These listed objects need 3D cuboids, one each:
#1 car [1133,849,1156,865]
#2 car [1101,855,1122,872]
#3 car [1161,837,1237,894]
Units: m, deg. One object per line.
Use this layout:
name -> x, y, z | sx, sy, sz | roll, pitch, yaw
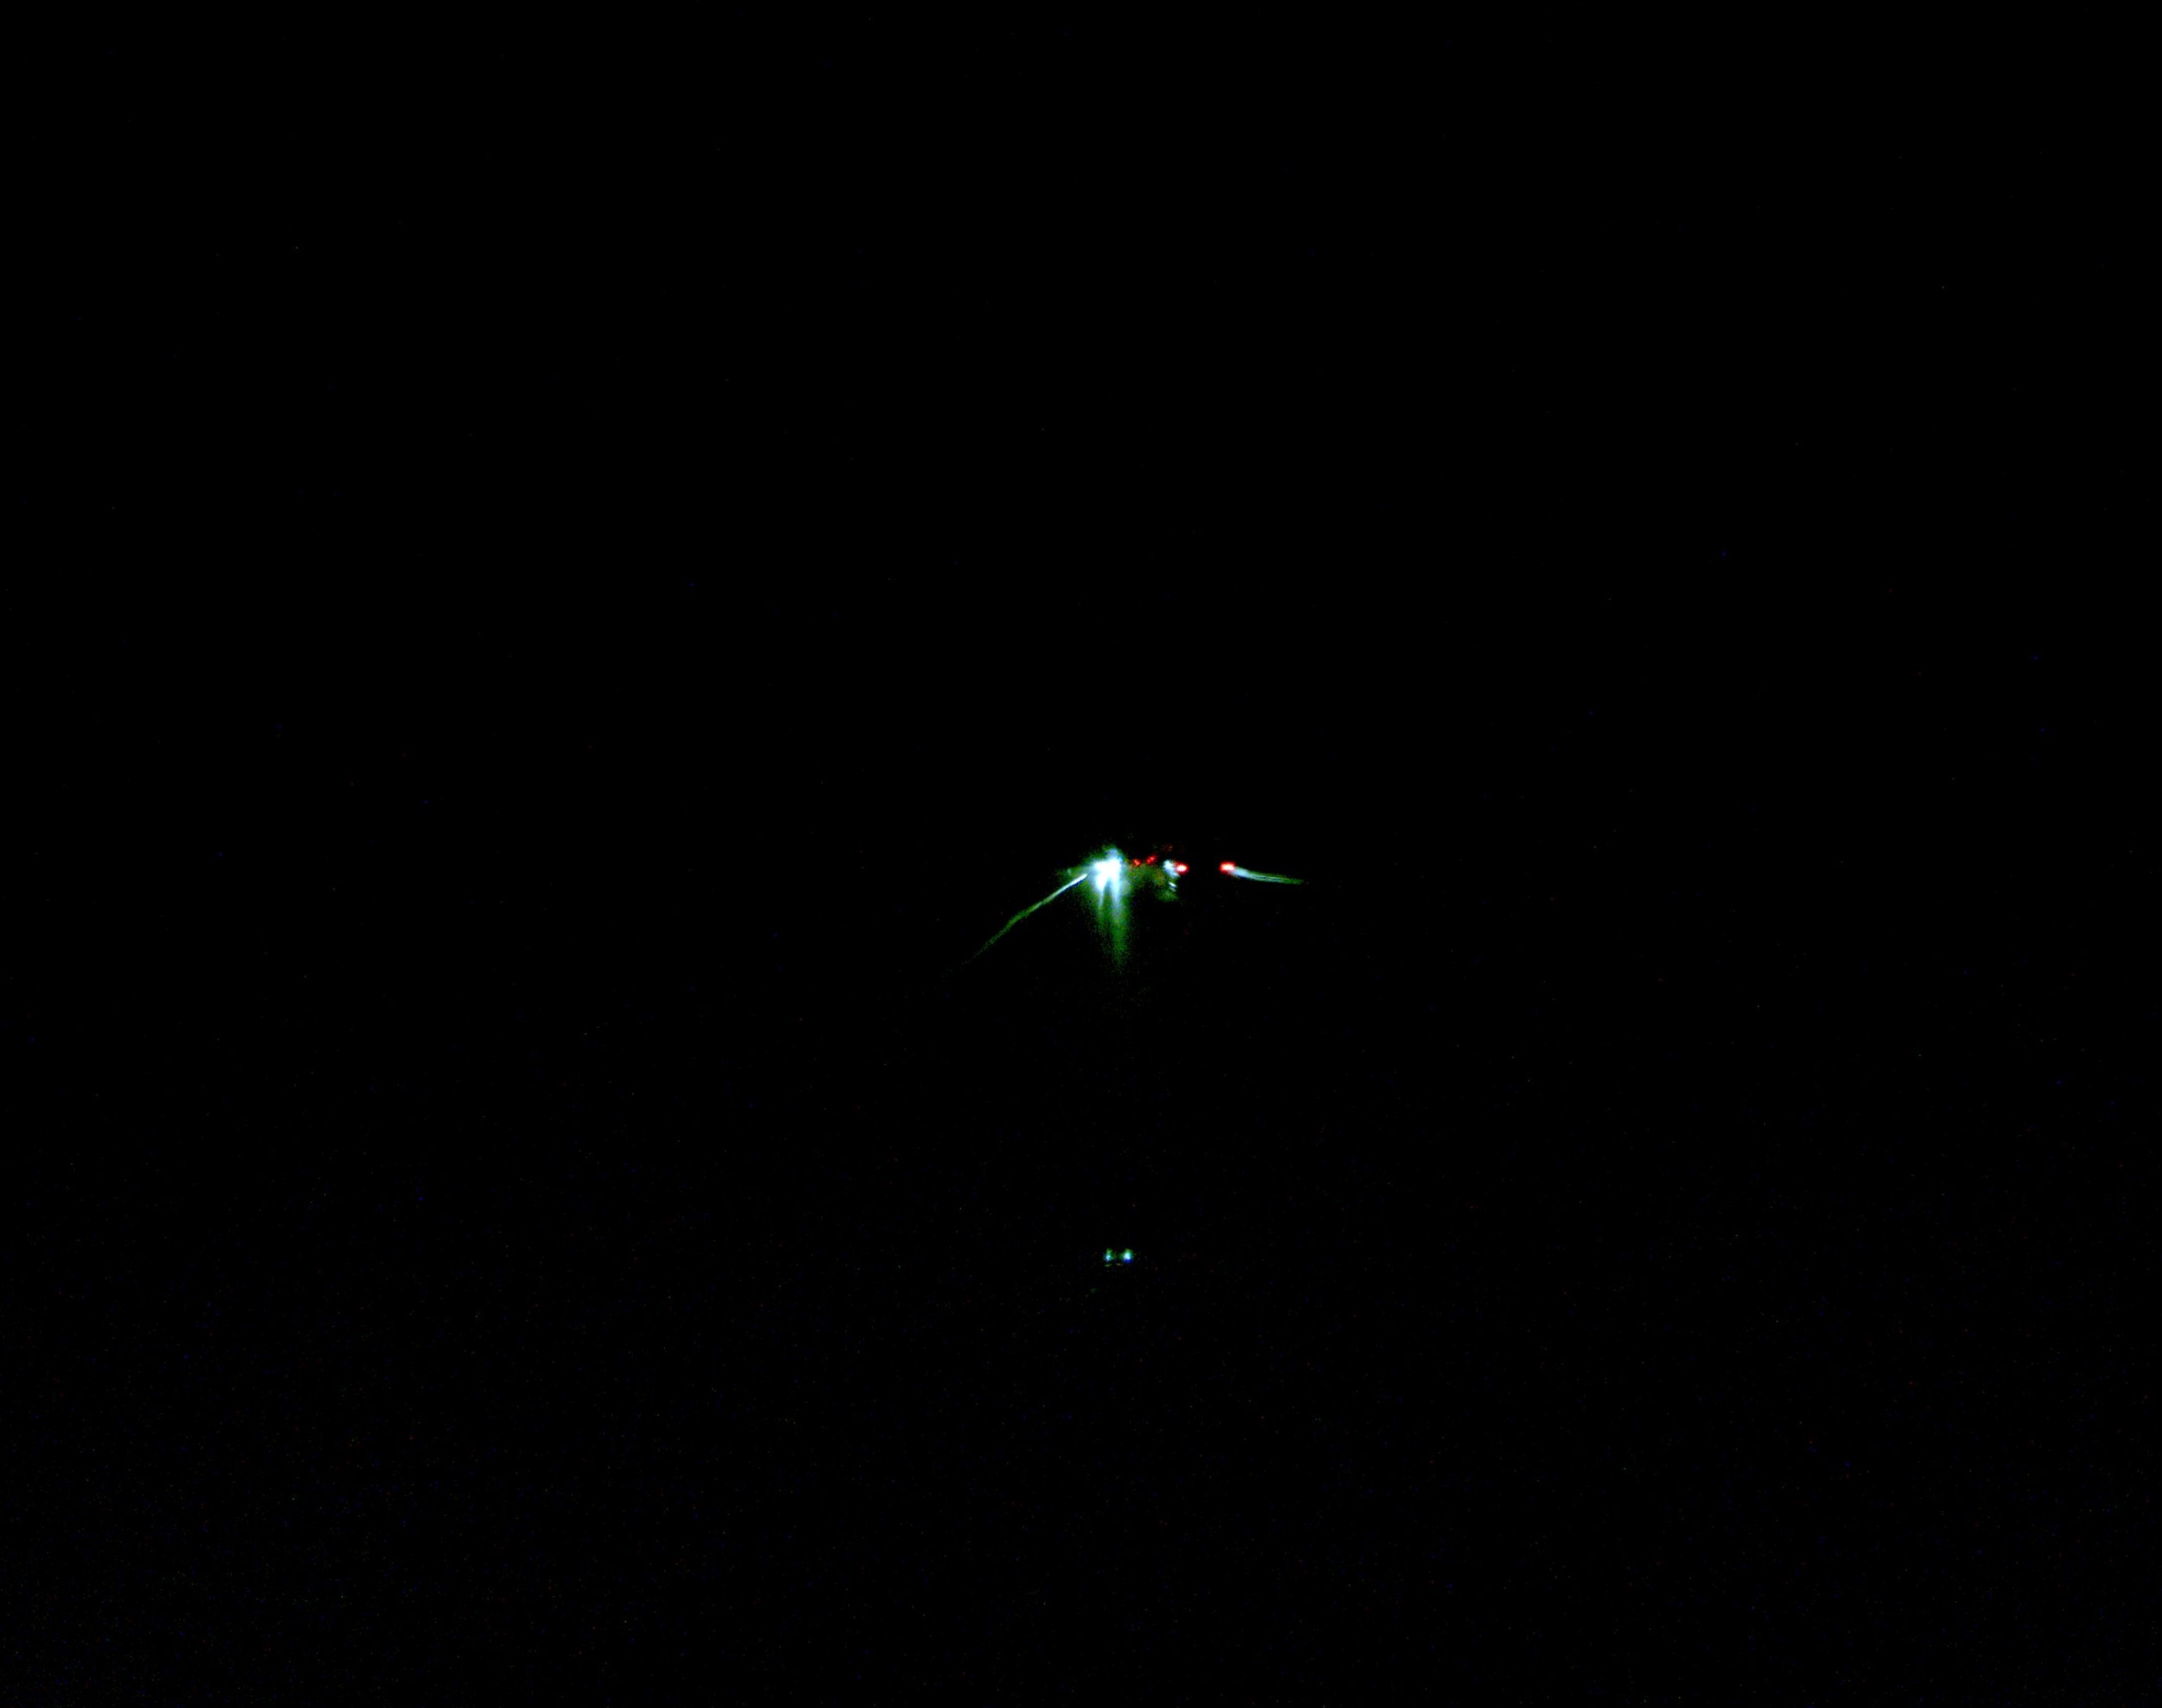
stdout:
car -> 6.389, 0.250, 76.638 | 1.998, 1.475, 3.216 | -3, 0, 1
car -> 2.888, 0.845, 71.791 | 1.807, 1.452, 4.276 | -3, 0, 3
car -> 4.074, 0.364, 26.908 | 1.998, 1.739, 4.258 | -3, 0, 1
